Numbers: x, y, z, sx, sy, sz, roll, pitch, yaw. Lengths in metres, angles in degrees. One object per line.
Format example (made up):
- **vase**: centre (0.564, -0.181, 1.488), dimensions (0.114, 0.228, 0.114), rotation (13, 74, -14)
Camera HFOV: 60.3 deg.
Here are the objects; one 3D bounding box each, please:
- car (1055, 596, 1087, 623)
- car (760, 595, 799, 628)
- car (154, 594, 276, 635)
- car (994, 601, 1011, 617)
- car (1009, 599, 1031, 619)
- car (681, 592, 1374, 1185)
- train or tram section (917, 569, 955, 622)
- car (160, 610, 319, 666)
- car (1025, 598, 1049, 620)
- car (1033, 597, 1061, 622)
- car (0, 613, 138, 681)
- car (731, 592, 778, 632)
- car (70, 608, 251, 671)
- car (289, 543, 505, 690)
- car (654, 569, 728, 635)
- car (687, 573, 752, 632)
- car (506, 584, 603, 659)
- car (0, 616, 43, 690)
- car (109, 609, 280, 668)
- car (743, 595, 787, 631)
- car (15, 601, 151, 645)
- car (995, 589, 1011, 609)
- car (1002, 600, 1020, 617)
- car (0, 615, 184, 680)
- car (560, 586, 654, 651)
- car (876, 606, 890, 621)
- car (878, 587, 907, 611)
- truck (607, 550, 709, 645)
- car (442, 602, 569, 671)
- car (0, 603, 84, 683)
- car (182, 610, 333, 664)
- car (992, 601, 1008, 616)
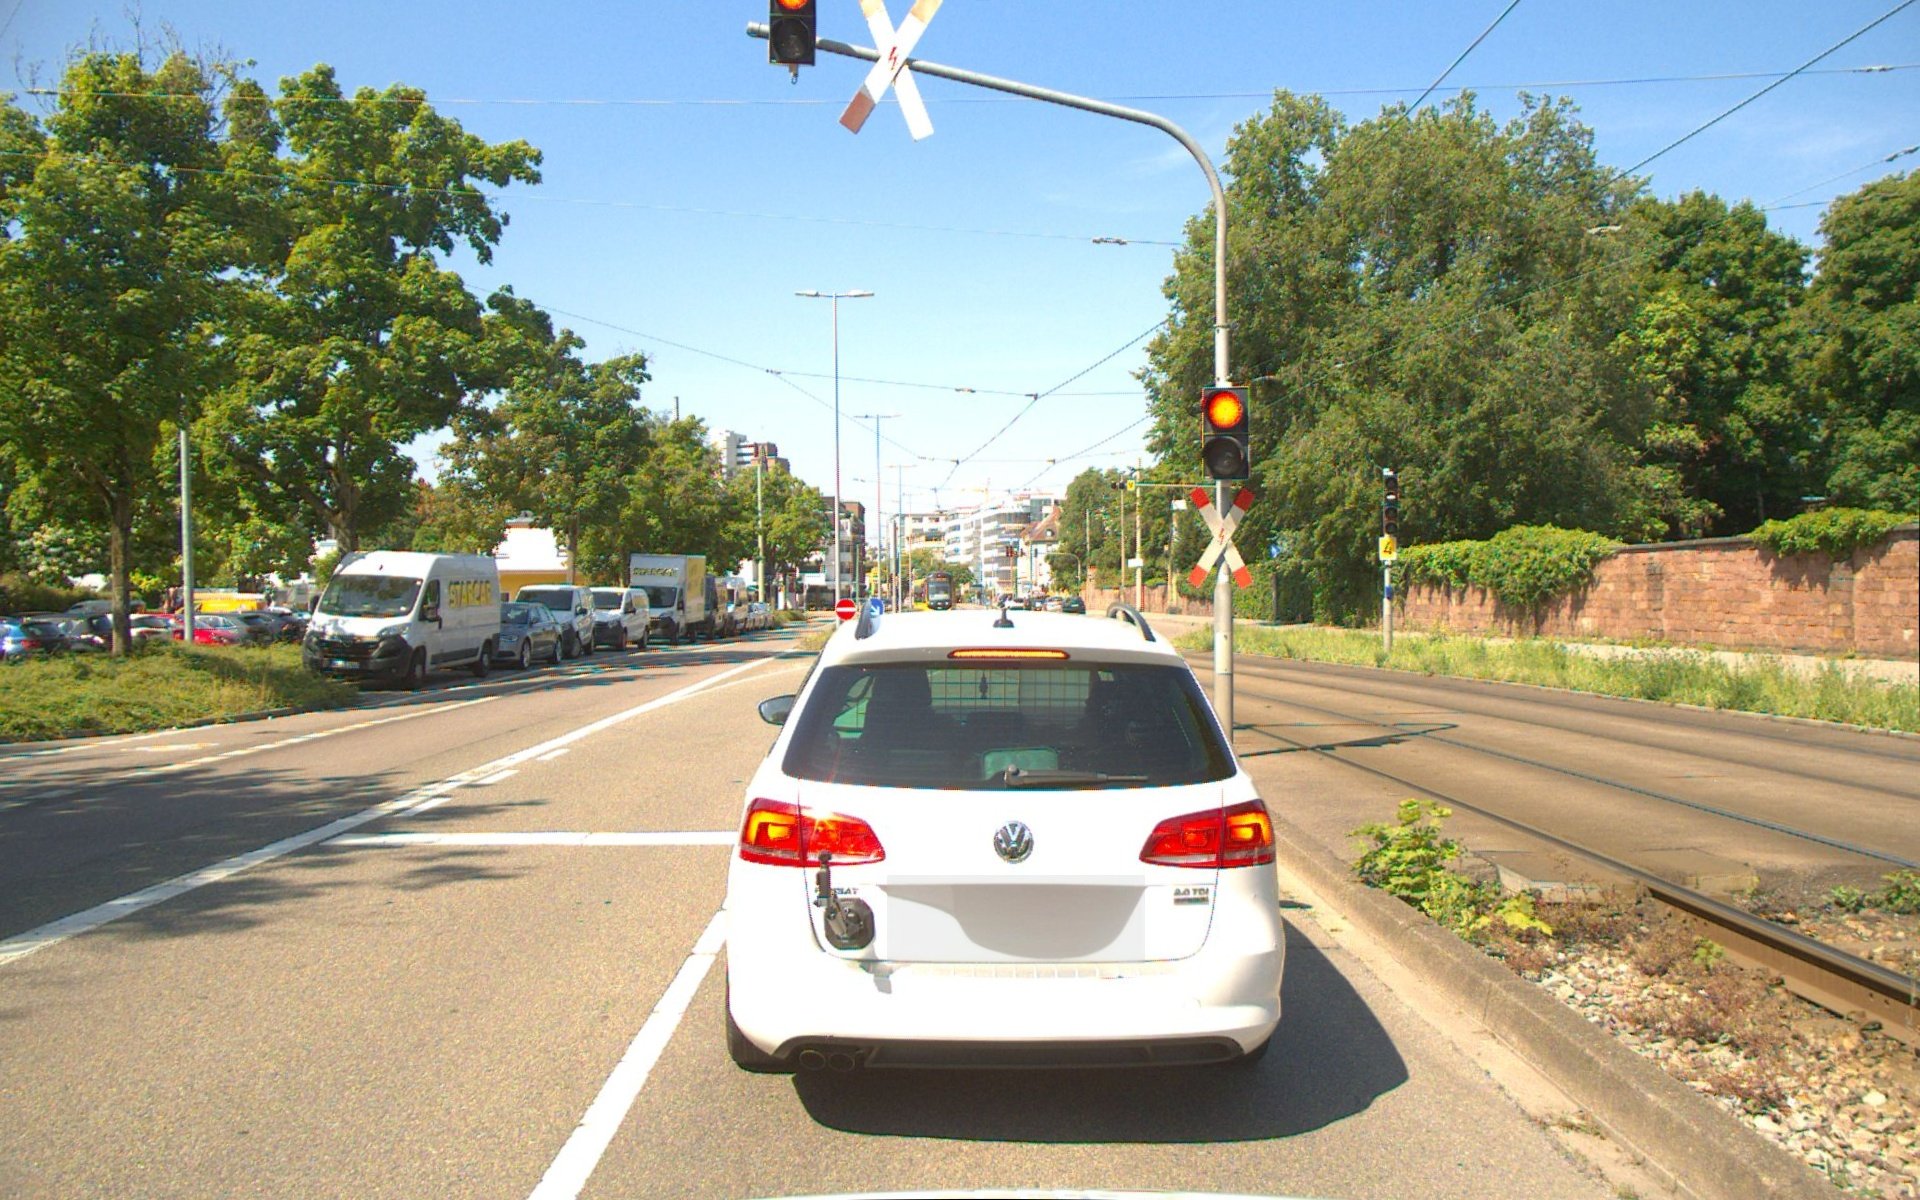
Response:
- **car**: centre (8.016, 0.664, 120.000), dimensions (1.826, 1.900, 5.060), rotation (1, 0, -2)
- **car**: centre (-10.705, 0.648, 98.430), dimensions (1.826, 1.900, 5.412), rotation (1, 0, -1)
- **car**: centre (-34.367, 0.669, 76.409), dimensions (4.698, 1.819, 2.062), rotation (1, 0, -5)
- **car**: centre (5.269, 1.067, 205.605), dimensions (1.826, 1.900, 5.060), rotation (1, 0, -2)
- **car**: centre (6.037, 0.870, 166.554), dimensions (1.826, 1.900, 5.060), rotation (1, 0, -2)
- **car**: centre (0.147, 0.717, 6.192), dimensions (1.726, 1.455, 3.999), rotation (-1, 0, -1)
- **train or tram section**: centre (-1.947, -0.375, 132.301), dimensions (2.812, 3.923, 12.389), rotation (-1, 0, -1)
- **car**: centre (-21.275, 1.103, 48.934), dimensions (3.909, 1.440, 1.728), rotation (-2, 0, -5)
- **car**: centre (6.969, 0.827, 149.859), dimensions (1.826, 1.900, 5.060), rotation (1, 0, -2)
- **car**: centre (6.989, 0.769, 133.603), dimensions (1.826, 1.900, 5.060), rotation (1, 0, -2)
- **car**: centre (-21.616, 1.116, 38.640), dimensions (3.909, 1.440, 1.728), rotation (-2, 0, -5)
- **car**: centre (-10.490, 0.580, 84.703), dimensions (1.826, 1.900, 5.412), rotation (1, 0, -1)
- **car**: centre (-21.109, 1.026, 43.789), dimensions (3.909, 1.440, 1.728), rotation (-2, 0, -5)
- **car**: centre (-10.745, 0.275, 32.134), dimensions (2.079, 2.560, 5.817), rotation (1, 0, 1)
- **car**: centre (-11.009, 0.063, 68.152), dimensions (2.079, 2.560, 5.733), rotation (1, 0, 0)
- **car**: centre (-10.923, 0.098, 75.589), dimensions (2.079, 2.560, 5.733), rotation (1, 0, 0)
- **car**: centre (-10.965, 0.532, 45.037), dimensions (1.828, 1.900, 5.068), rotation (1, 0, -6)
- **car**: centre (-20.732, 1.123, 32.929), dimensions (3.909, 1.440, 1.728), rotation (-2, 0, -5)
- **car**: centre (-21.287, 1.058, 46.116), dimensions (3.909, 1.440, 1.728), rotation (-2, 0, -5)
- **car**: centre (-10.760, 0.688, 91.513), dimensions (1.826, 1.900, 5.412), rotation (1, 0, -1)
- **car**: centre (-37.811, 0.985, 71.382), dimensions (4.698, 1.819, 2.062), rotation (1, 0, -5)
- **car**: centre (6.252, -0.207, 242.672), dimensions (2.015, 2.807, 5.630), rotation (1, 0, -2)
- **car**: centre (5.845, 0.993, 189.943), dimensions (1.826, 1.900, 5.060), rotation (1, 0, -2)
- **car**: centre (-21.729, 1.168, 41.217), dimensions (3.909, 1.440, 1.728), rotation (-2, 0, -5)
- **car**: centre (-10.965, 0.527, 51.729), dimensions (1.826, 1.900, 5.412), rotation (1, 0, -1)
- **car**: centre (-10.068, 1.763, 216.498), dimensions (1.726, 1.929, 4.913), rotation (1, 0, -1)
- **car**: centre (-4.578, -0.073, 112.262), dimensions (1.670, 1.499, 4.589), rotation (-1, 0, 0)
- **truck**: centre (-10.862, -0.111, 60.155), dimensions (2.371, 3.205, 6.996), rotation (1, 0, 0)
- **car**: centre (-10.513, 0.802, 38.538), dimensions (1.826, 1.440, 4.278), rotation (1, 0, -1)
- **car**: centre (-21.080, 0.964, 35.171), dimensions (3.909, 1.638, 1.728), rotation (-2, 0, -5)
- **car**: centre (-21.708, 1.129, 51.225), dimensions (3.909, 1.440, 1.728), rotation (-2, 0, -5)
- **car**: centre (5.208, 1.100, 218.075), dimensions (1.826, 1.900, 5.060), rotation (1, 0, -2)
